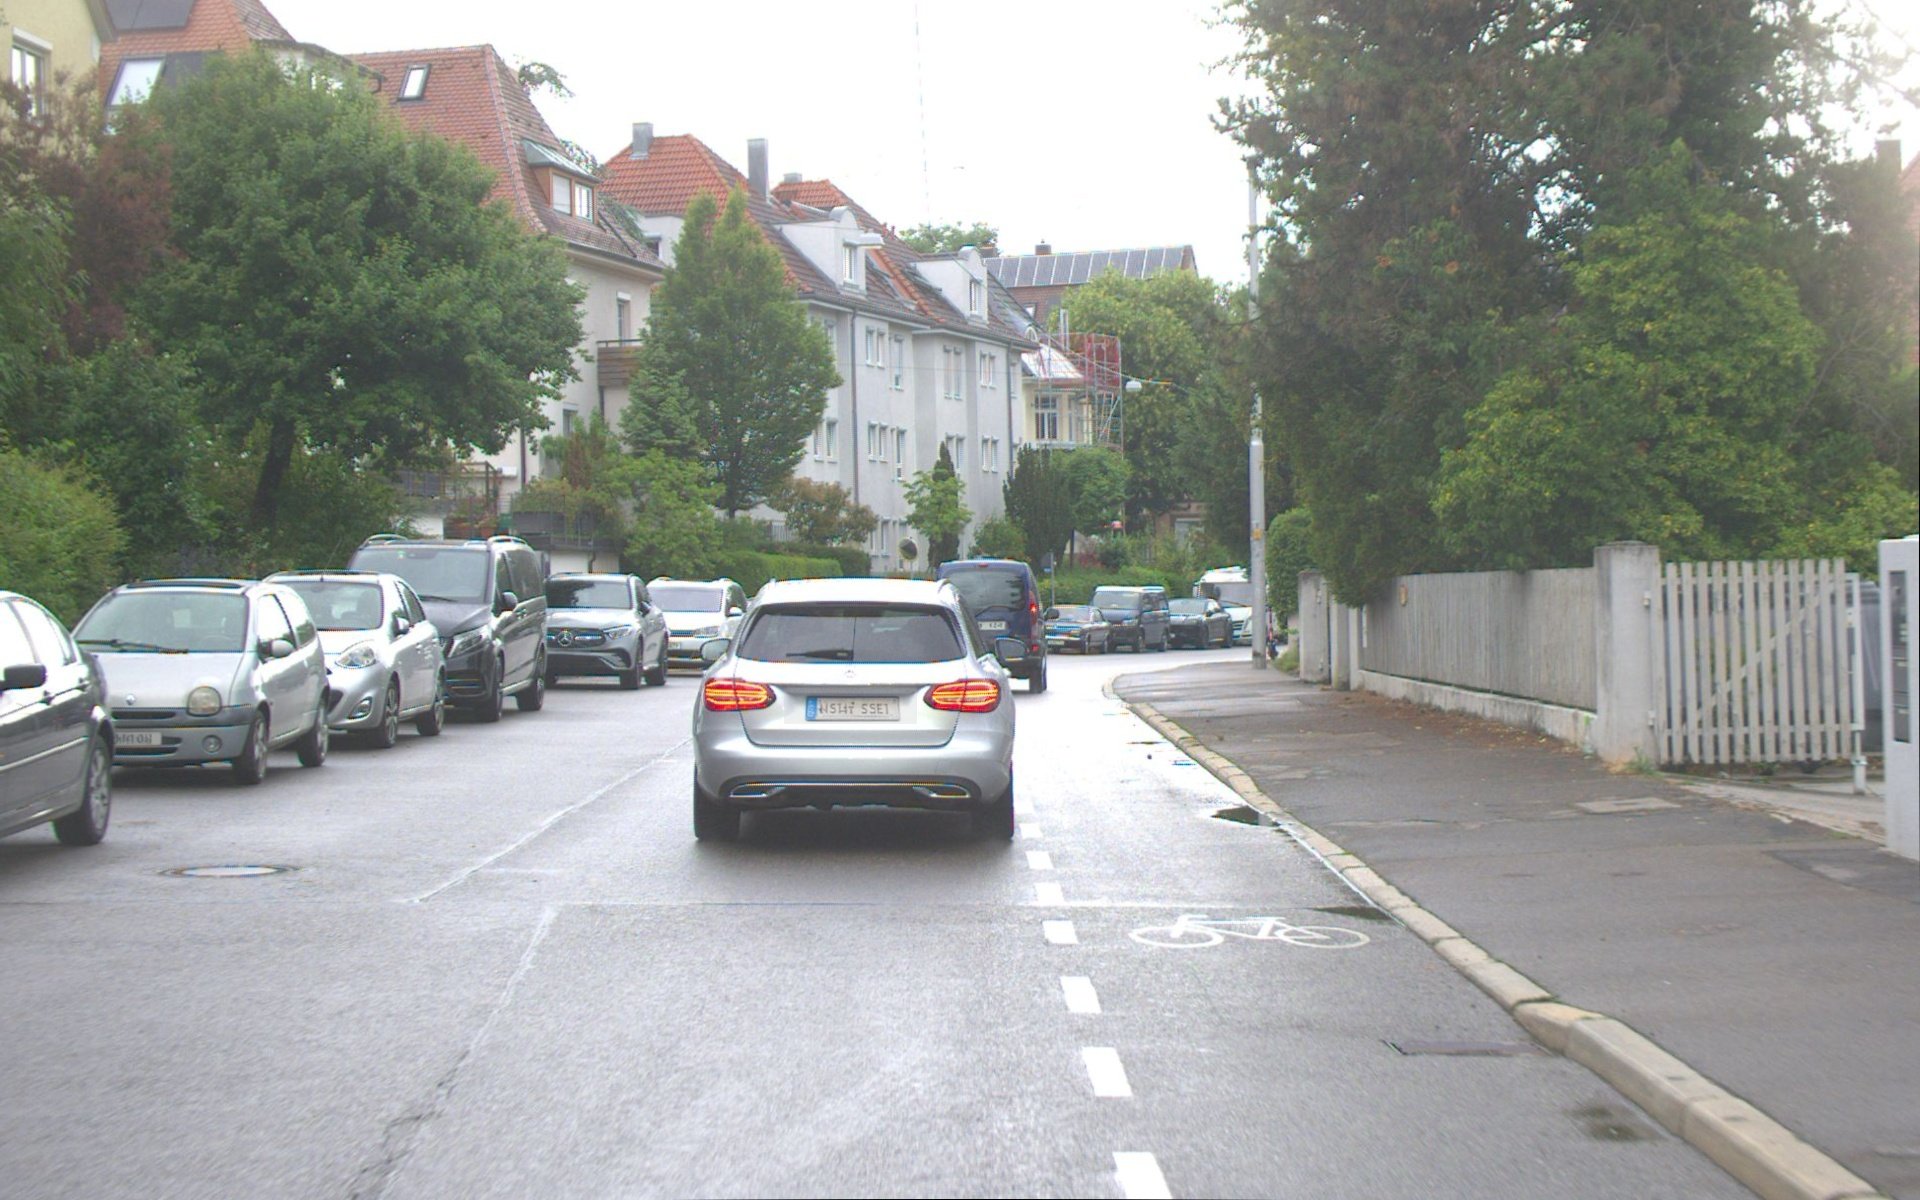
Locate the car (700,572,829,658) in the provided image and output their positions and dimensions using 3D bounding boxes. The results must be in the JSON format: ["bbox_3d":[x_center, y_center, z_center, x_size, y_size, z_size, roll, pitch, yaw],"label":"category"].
[{"bbox_3d":[-3.848,0.280,68.204,1.792,1.575,4.137,2,0,7],"label":"car"}]

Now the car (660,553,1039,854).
[{"bbox_3d":[-0.537,0.520,19.987,1.816,1.551,4.000,1,1,4],"label":"car"}]

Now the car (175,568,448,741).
[{"bbox_3d":[-5.713,0.451,30.685,1.694,1.442,3.814,0,0,0],"label":"car"}]

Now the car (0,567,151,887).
[{"bbox_3d":[-5.497,0.615,17.534,1.756,1.442,4.417,0,2,-1],"label":"car"}]

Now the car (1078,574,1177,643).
[{"bbox_3d":[5.171,0.276,105.606,1.831,2.049,5.005,1,0,17],"label":"car"}]

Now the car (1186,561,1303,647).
[{"bbox_3d":[9.892,0.096,119.106,2.393,2.762,6.525,1,2,20],"label":"car"}]

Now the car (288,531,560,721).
[{"bbox_3d":[-5.679,0.233,37.122,1.993,1.872,5.356,1,0,1],"label":"car"}]

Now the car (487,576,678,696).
[{"bbox_3d":[-5.400,0.475,49.736,1.994,1.575,4.761,2,0,2],"label":"car"}]

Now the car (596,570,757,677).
[{"bbox_3d":[-4.874,0.376,59.730,1.994,1.696,4.738,2,0,4],"label":"car"}]

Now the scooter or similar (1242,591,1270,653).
[{"bbox_3d":[6.367,0.469,73.829,0.450,1.303,1.481,-2,-1,9],"label":"scooter or similar"}]

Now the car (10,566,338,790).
[{"bbox_3d":[-5.735,0.519,25.465,1.646,1.442,3.628,0,2,-1],"label":"car"}]

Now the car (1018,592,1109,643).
[{"bbox_3d":[3.025,0.501,99.268,1.644,1.412,4.609,1,0,14],"label":"car"}]

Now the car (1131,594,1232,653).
[{"bbox_3d":[7.226,0.750,111.842,1.996,1.682,4.672,1,2,21],"label":"car"}]

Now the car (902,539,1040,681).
[{"bbox_3d":[0.191,0.146,48.501,1.843,1.897,4.000,0,0,1],"label":"car"}]
